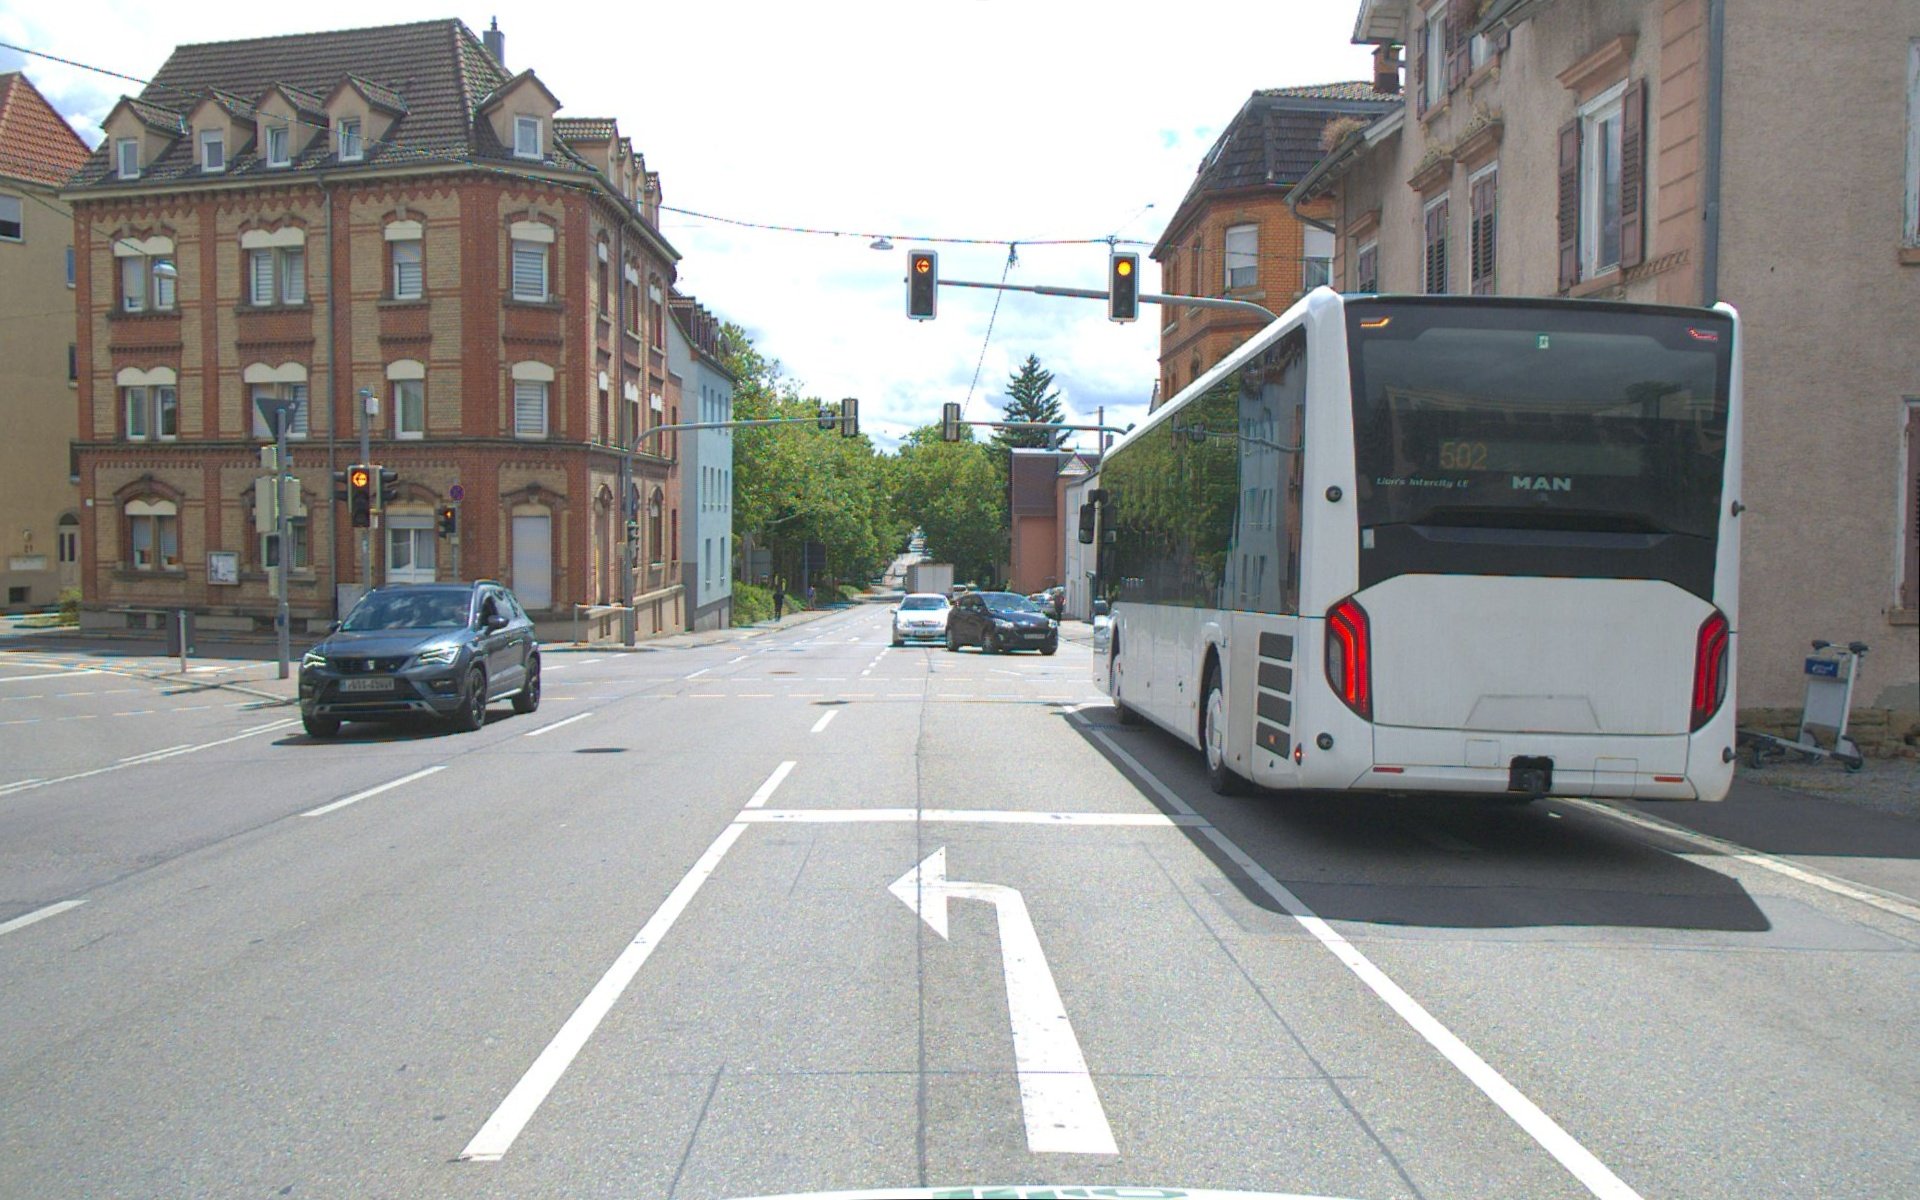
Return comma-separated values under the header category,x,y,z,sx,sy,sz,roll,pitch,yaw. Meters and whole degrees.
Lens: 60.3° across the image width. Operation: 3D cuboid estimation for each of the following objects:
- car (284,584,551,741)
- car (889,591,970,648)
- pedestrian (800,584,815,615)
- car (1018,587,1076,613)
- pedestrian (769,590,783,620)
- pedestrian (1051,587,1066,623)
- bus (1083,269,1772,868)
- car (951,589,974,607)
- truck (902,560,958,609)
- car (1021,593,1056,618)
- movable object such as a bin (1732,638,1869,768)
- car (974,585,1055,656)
category,x,y,z,sx,sy,sz,roll,pitch,yaw
car,-5.955,0.611,18.652,1.723,1.548,3.957,-1,1,-1
car,-0.782,0.499,44.966,1.662,1.452,4.003,-1,0,6
pedestrian,-10.443,-0.037,113.364,0.974,2.049,1.188,0,0,-1
car,6.261,-0.008,119.183,3.909,1.788,1.998,-1,0,-6
pedestrian,-9.666,0.248,86.872,0.714,1.592,0.560,0,0,-2
pedestrian,4.916,0.226,82.623,0.723,1.781,0.619,-1,0,-1
bus,3.008,-0.247,15.207,2.618,3.210,12.460,-1,1,-1
car,0.209,-0.138,135.471,1.758,1.434,3.999,1,0,-1
truck,-2.078,-1.027,111.268,2.871,3.135,7.873,-1,1,-7
car,4.708,0.316,99.055,1.758,1.434,3.999,-1,1,-2
movable object such as a bin,7.051,0.851,13.903,0.760,1.030,0.749,-1,0,-1
car,1.245,0.445,39.246,1.723,1.543,3.793,-1,1,-1
